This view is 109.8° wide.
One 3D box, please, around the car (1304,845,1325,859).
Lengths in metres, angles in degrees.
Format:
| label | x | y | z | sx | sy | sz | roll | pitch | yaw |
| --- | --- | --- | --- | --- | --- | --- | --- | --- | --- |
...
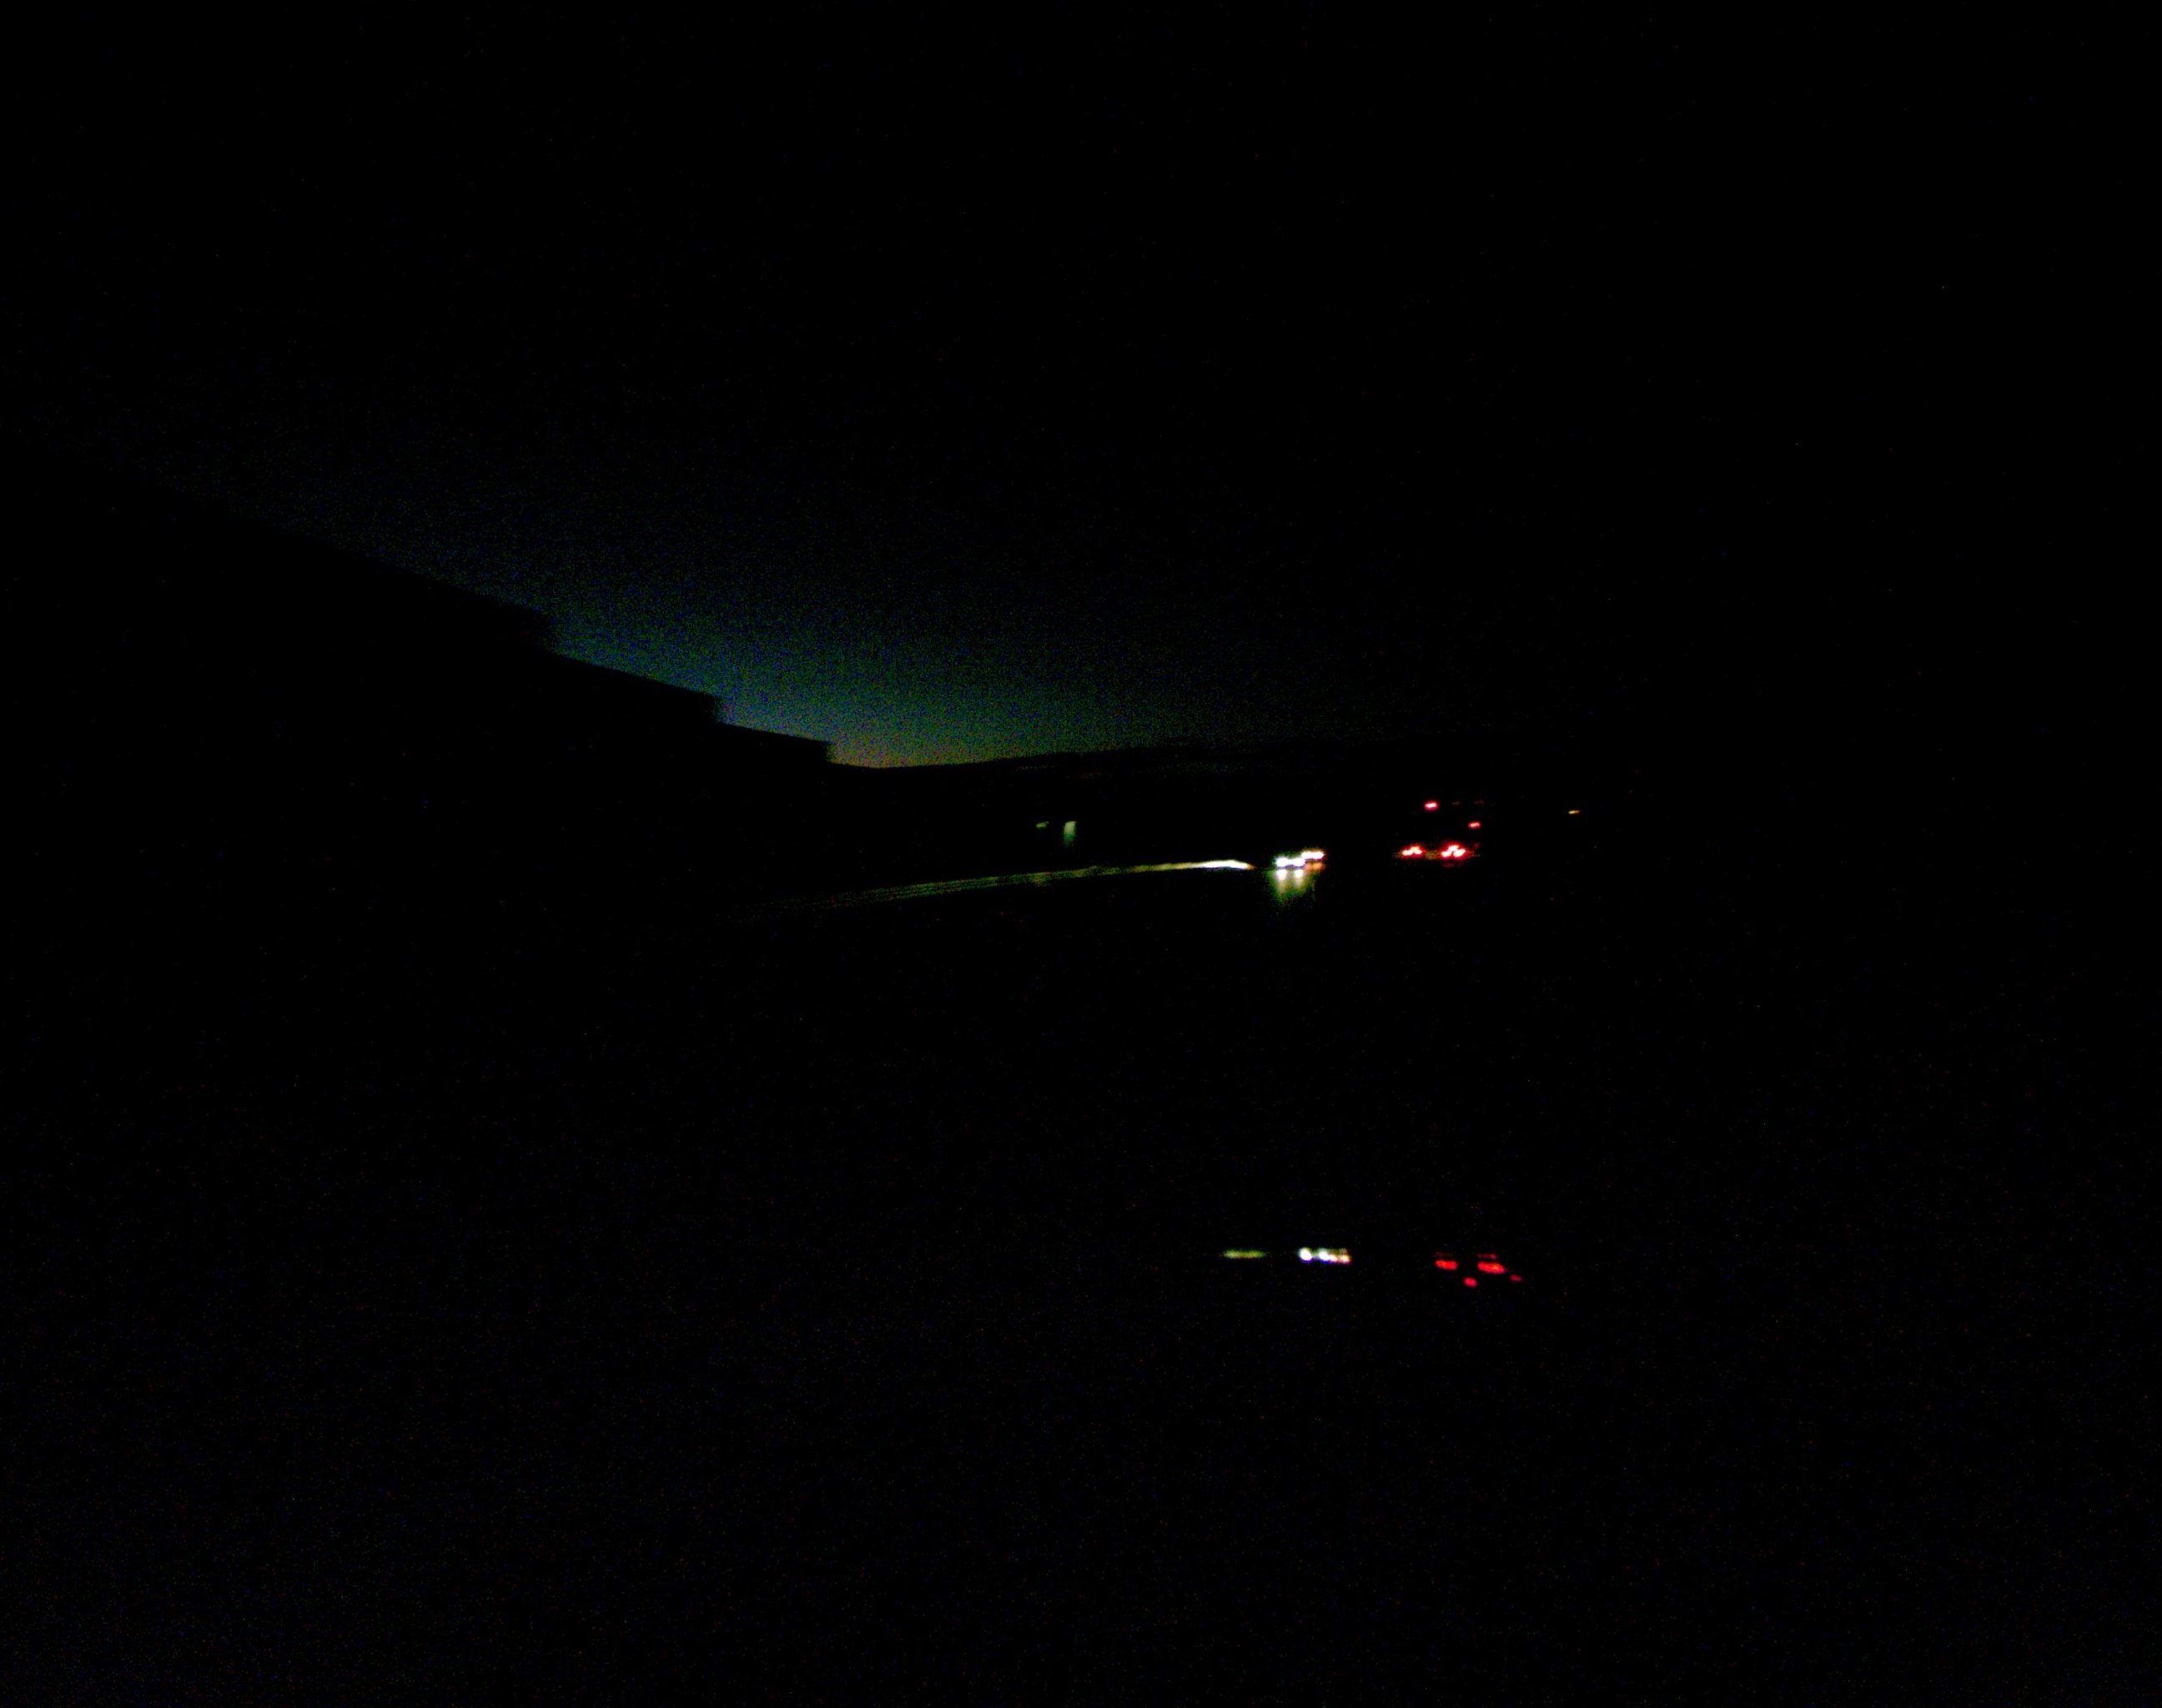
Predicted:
| label | x | y | z | sx | sy | sz | roll | pitch | yaw |
| --- | --- | --- | --- | --- | --- | --- | --- | --- | --- |
| car | 27.279 | -0.226 | 88.687 | 1.654 | 1.442 | 3.495 | -1 | 2 | 29 |

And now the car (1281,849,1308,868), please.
| label | x | y | z | sx | sy | sz | roll | pitch | yaw |
| --- | --- | --- | --- | --- | --- | --- | --- | --- | --- |
| car | 18.676 | 0.389 | 66.388 | 1.760 | 1.451 | 4.198 | -1 | 1 | 22 |

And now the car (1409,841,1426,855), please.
| label | x | y | z | sx | sy | sz | roll | pitch | yaw |
| --- | --- | --- | --- | --- | --- | --- | --- | --- | --- |
| car | 40.921 | -0.762 | 92.462 | 1.701 | 1.467 | 3.874 | -2 | 3 | 22 |

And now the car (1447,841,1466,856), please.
| label | x | y | z | sx | sy | sz | roll | pitch | yaw |
| --- | --- | --- | --- | --- | --- | --- | --- | --- | --- |
| car | 43.611 | -0.636 | 88.319 | 1.756 | 1.452 | 4.005 | -2 | 2 | 24 |

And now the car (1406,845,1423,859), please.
| label | x | y | z | sx | sy | sz | roll | pitch | yaw |
| --- | --- | --- | --- | --- | --- | --- | --- | --- | --- |
| car | 37.433 | -0.265 | 85.349 | 1.711 | 1.436 | 3.990 | -1 | 1 | 24 |

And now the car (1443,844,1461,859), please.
| label | x | y | z | sx | sy | sz | roll | pitch | yaw |
| --- | --- | --- | --- | --- | --- | --- | --- | --- | --- |
| car | 40.353 | -0.273 | 82.647 | 1.685 | 1.451 | 3.817 | 0 | 3 | 24 |
